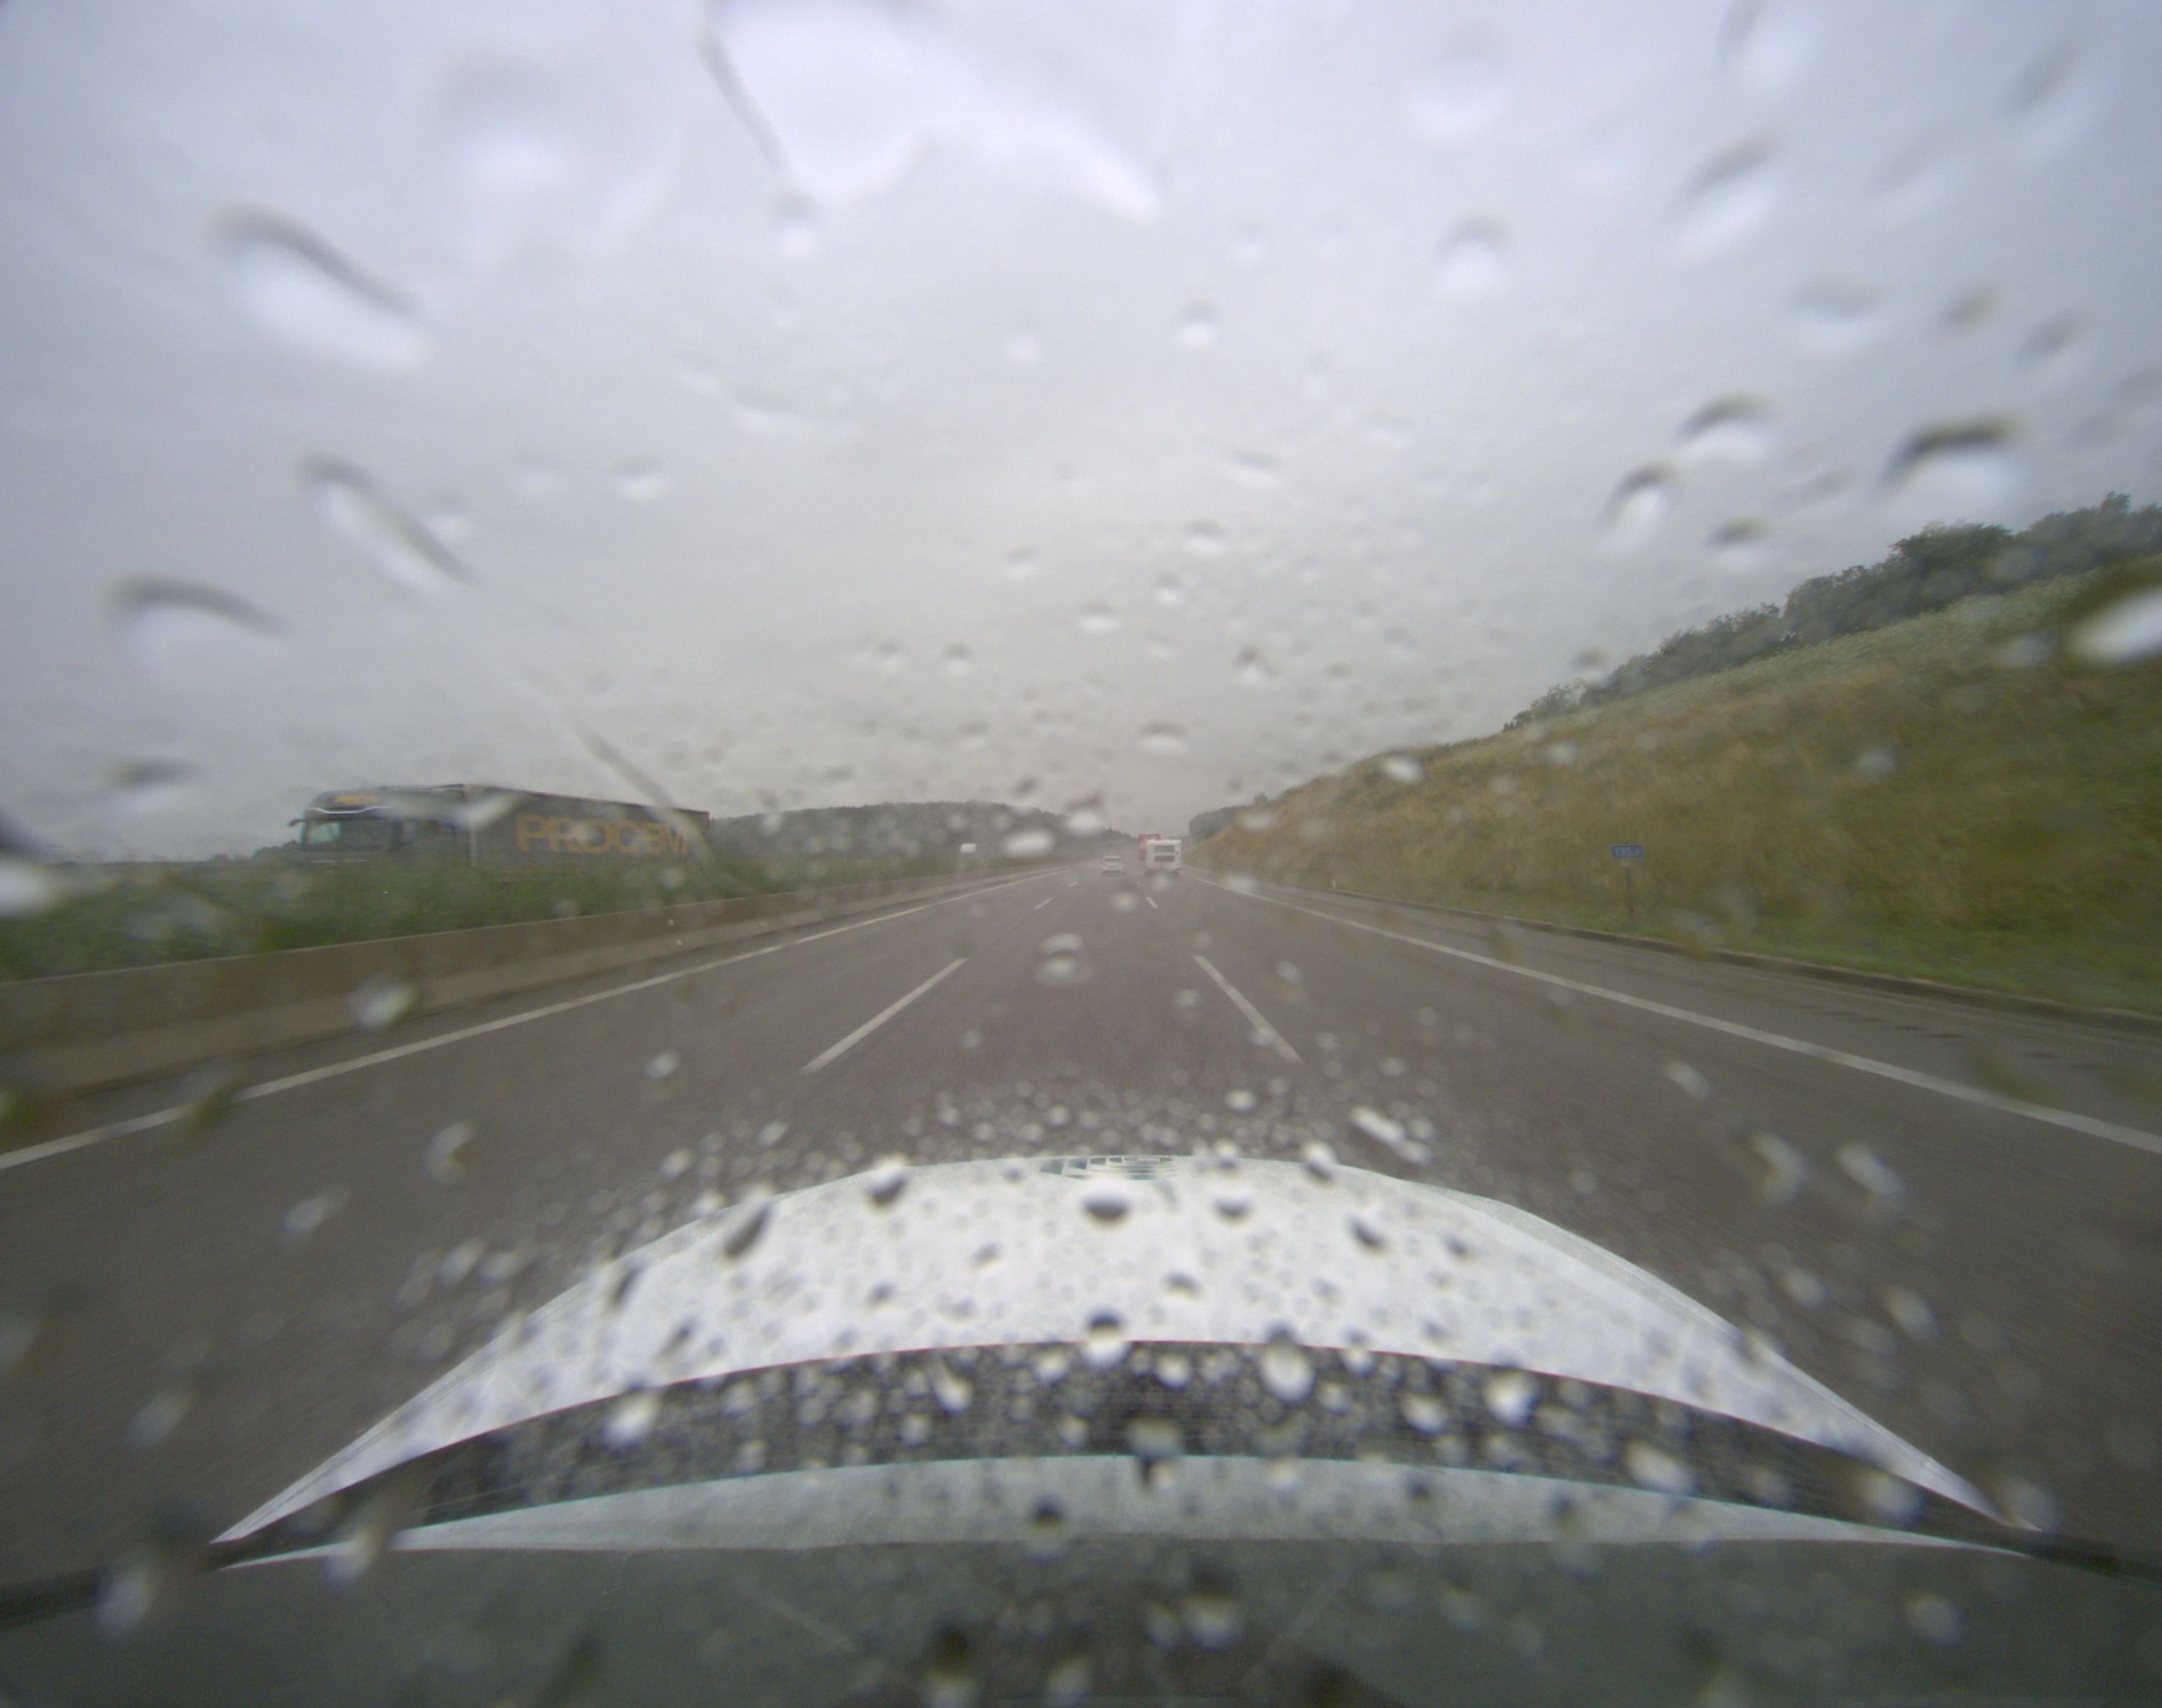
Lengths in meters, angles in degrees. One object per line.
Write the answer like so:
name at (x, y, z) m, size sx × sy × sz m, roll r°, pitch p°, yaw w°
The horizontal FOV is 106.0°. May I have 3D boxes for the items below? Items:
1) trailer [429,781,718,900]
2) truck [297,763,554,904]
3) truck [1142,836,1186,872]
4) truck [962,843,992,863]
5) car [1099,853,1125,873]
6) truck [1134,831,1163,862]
trailer at (-18.523, -0.266, 31.502) m, size 2.981 × 3.640 × 12.494 m, roll -1°, pitch -2°, yaw 2°
truck at (-18.778, -0.473, 23.869) m, size 2.938 × 3.622 × 5.466 m, roll -1°, pitch -2°, yaw 2°
truck at (5.559, 0.008, 55.255) m, size 2.401 × 2.252 × 4.690 m, roll -1°, pitch 0°, yaw -1°
truck at (-13.463, -0.098, 106.025) m, size 2.271 × 2.511 × 10.130 m, roll -1°, pitch 0°, yaw 2°
car at (2.359, 0.712, 62.291) m, size 1.861 × 1.463 × 3.999 m, roll -1°, pitch -1°, yaw 0°
truck at (8.580, -0.933, 104.037) m, size 3.511 × 3.743 × 11.440 m, roll 0°, pitch 1°, yaw 4°
